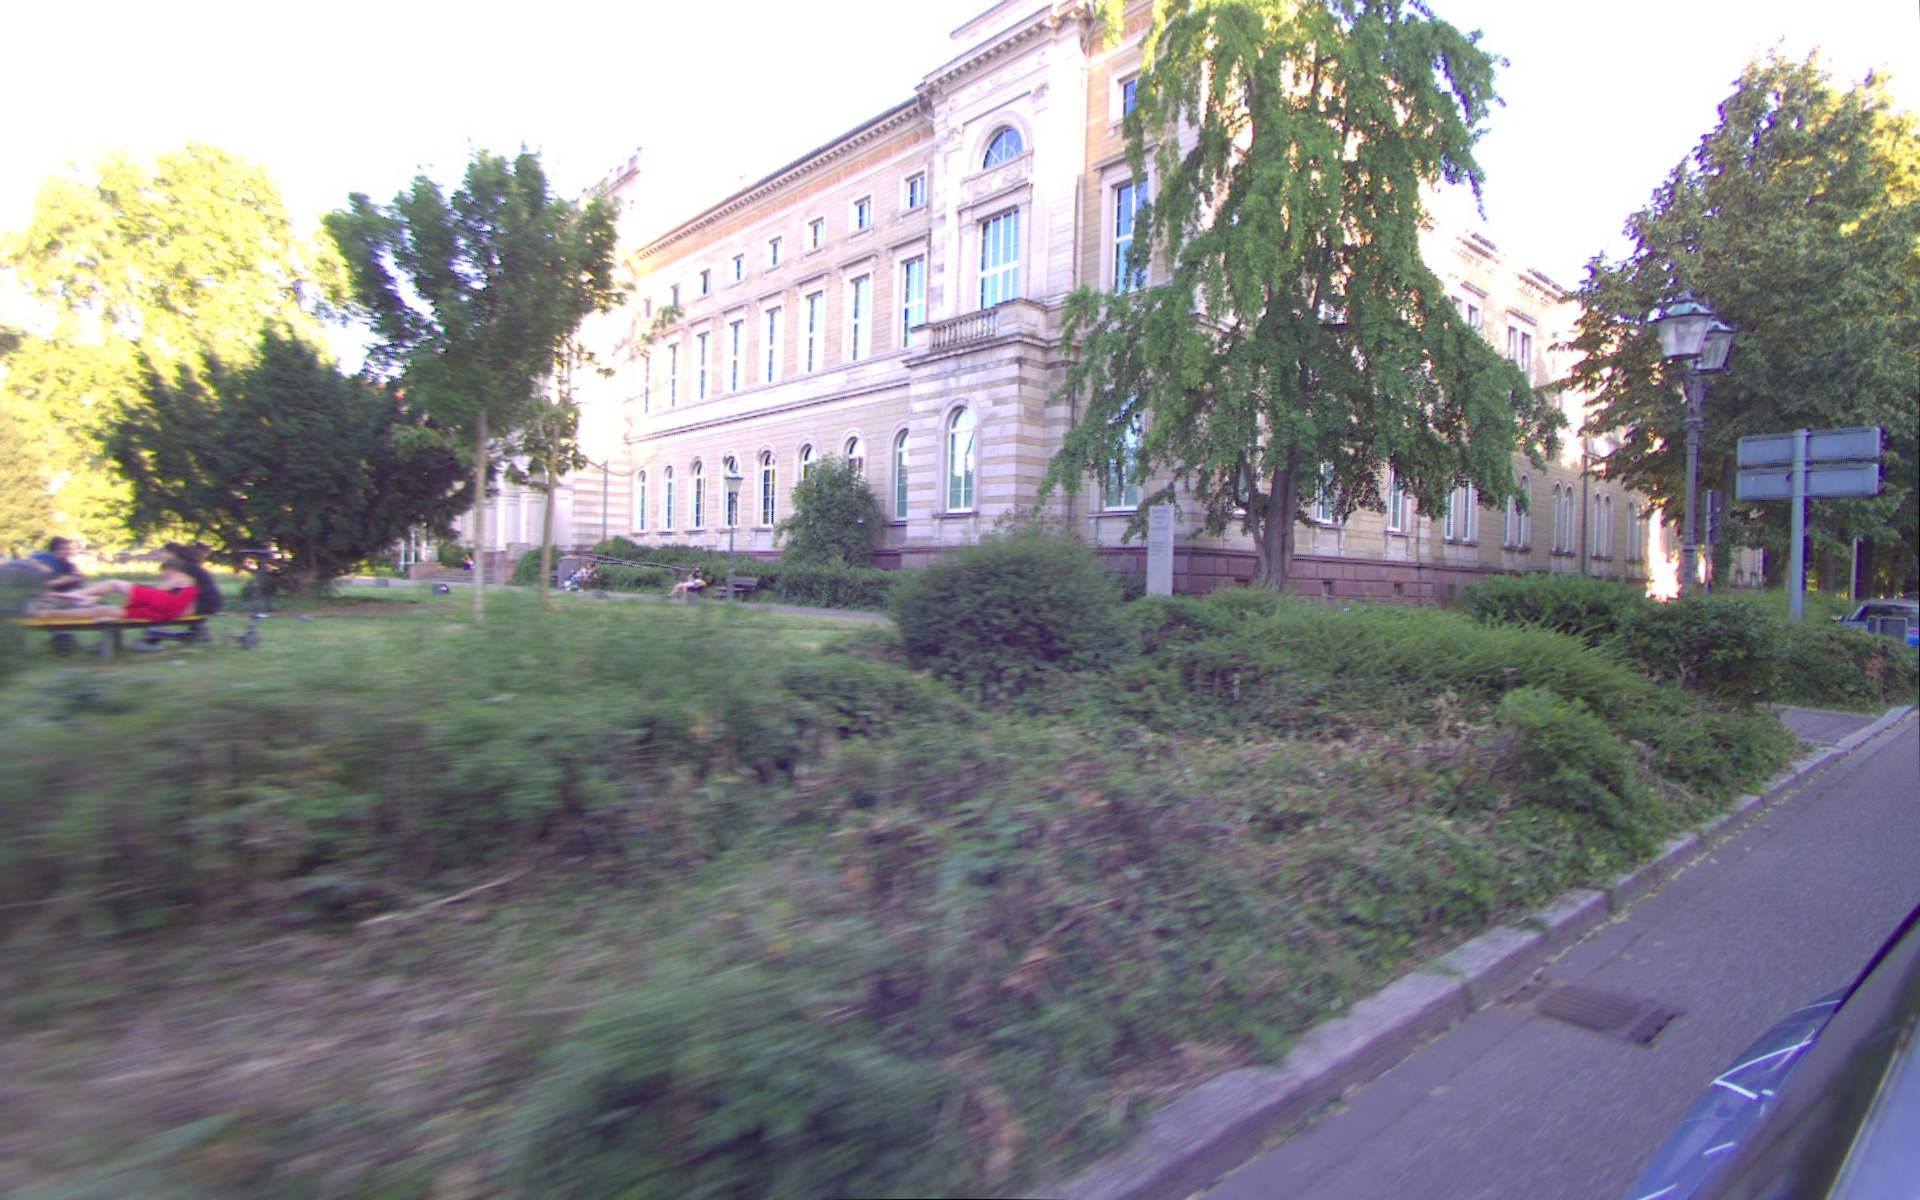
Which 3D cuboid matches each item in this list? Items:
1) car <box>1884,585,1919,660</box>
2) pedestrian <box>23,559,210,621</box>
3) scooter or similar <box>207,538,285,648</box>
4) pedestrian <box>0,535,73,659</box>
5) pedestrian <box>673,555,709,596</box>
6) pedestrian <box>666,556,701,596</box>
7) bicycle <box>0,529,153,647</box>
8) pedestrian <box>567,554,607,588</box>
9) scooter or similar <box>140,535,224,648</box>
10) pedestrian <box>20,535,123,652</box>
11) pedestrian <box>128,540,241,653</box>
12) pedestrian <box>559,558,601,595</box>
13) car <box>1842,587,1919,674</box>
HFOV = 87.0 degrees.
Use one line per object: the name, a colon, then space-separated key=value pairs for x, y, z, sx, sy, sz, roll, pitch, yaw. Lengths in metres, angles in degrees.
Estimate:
car: x=23.368 y=0.501 z=23.737 sx=4.627 sy=1.671 sz=1.729 roll=-1 pitch=3 yaw=-38
pedestrian: x=-8.569 y=-0.113 z=10.328 sx=0.537 sy=0.556 sz=1.363 roll=6 pitch=4 yaw=29
scooter or similar: x=-8.551 y=-0.105 z=12.111 sx=1.214 sy=1.261 sz=0.413 roll=3 pitch=2 yaw=37
pedestrian: x=-9.450 y=-0.042 z=10.179 sx=0.733 sy=1.206 sz=0.724 roll=0 pitch=2 yaw=-37
pedestrian: x=-9.567 y=-0.870 z=35.960 sx=1.026 sy=1.414 sz=0.695 roll=0 pitch=2 yaw=-41
pedestrian: x=-10.032 y=-0.877 z=36.727 sx=1.026 sy=1.414 sz=0.695 roll=0 pitch=2 yaw=-41
bicycle: x=-10.641 y=-0.146 z=11.710 sx=0.620 sy=1.316 sz=1.986 roll=3 pitch=2 yaw=45
pedestrian: x=-16.058 y=-1.255 z=43.566 sx=1.427 sy=1.414 sz=0.695 roll=0 pitch=2 yaw=-41
scooter or similar: x=-9.107 y=-0.115 z=11.832 sx=1.212 sy=1.261 sz=0.413 roll=2 pitch=2 yaw=34
pedestrian: x=-9.647 y=-0.083 z=11.016 sx=0.775 sy=1.206 sz=0.809 roll=0 pitch=2 yaw=-37
pedestrian: x=-8.573 y=-0.045 z=11.218 sx=0.778 sy=1.206 sz=0.666 roll=1 pitch=1 yaw=-13
pedestrian: x=-16.696 y=-1.046 z=44.466 sx=1.540 sy=1.575 sz=0.801 roll=0 pitch=2 yaw=-41
car: x=19.052 y=0.577 z=20.091 sx=4.532 sy=1.505 sz=1.728 roll=0 pitch=5 yaw=-43
